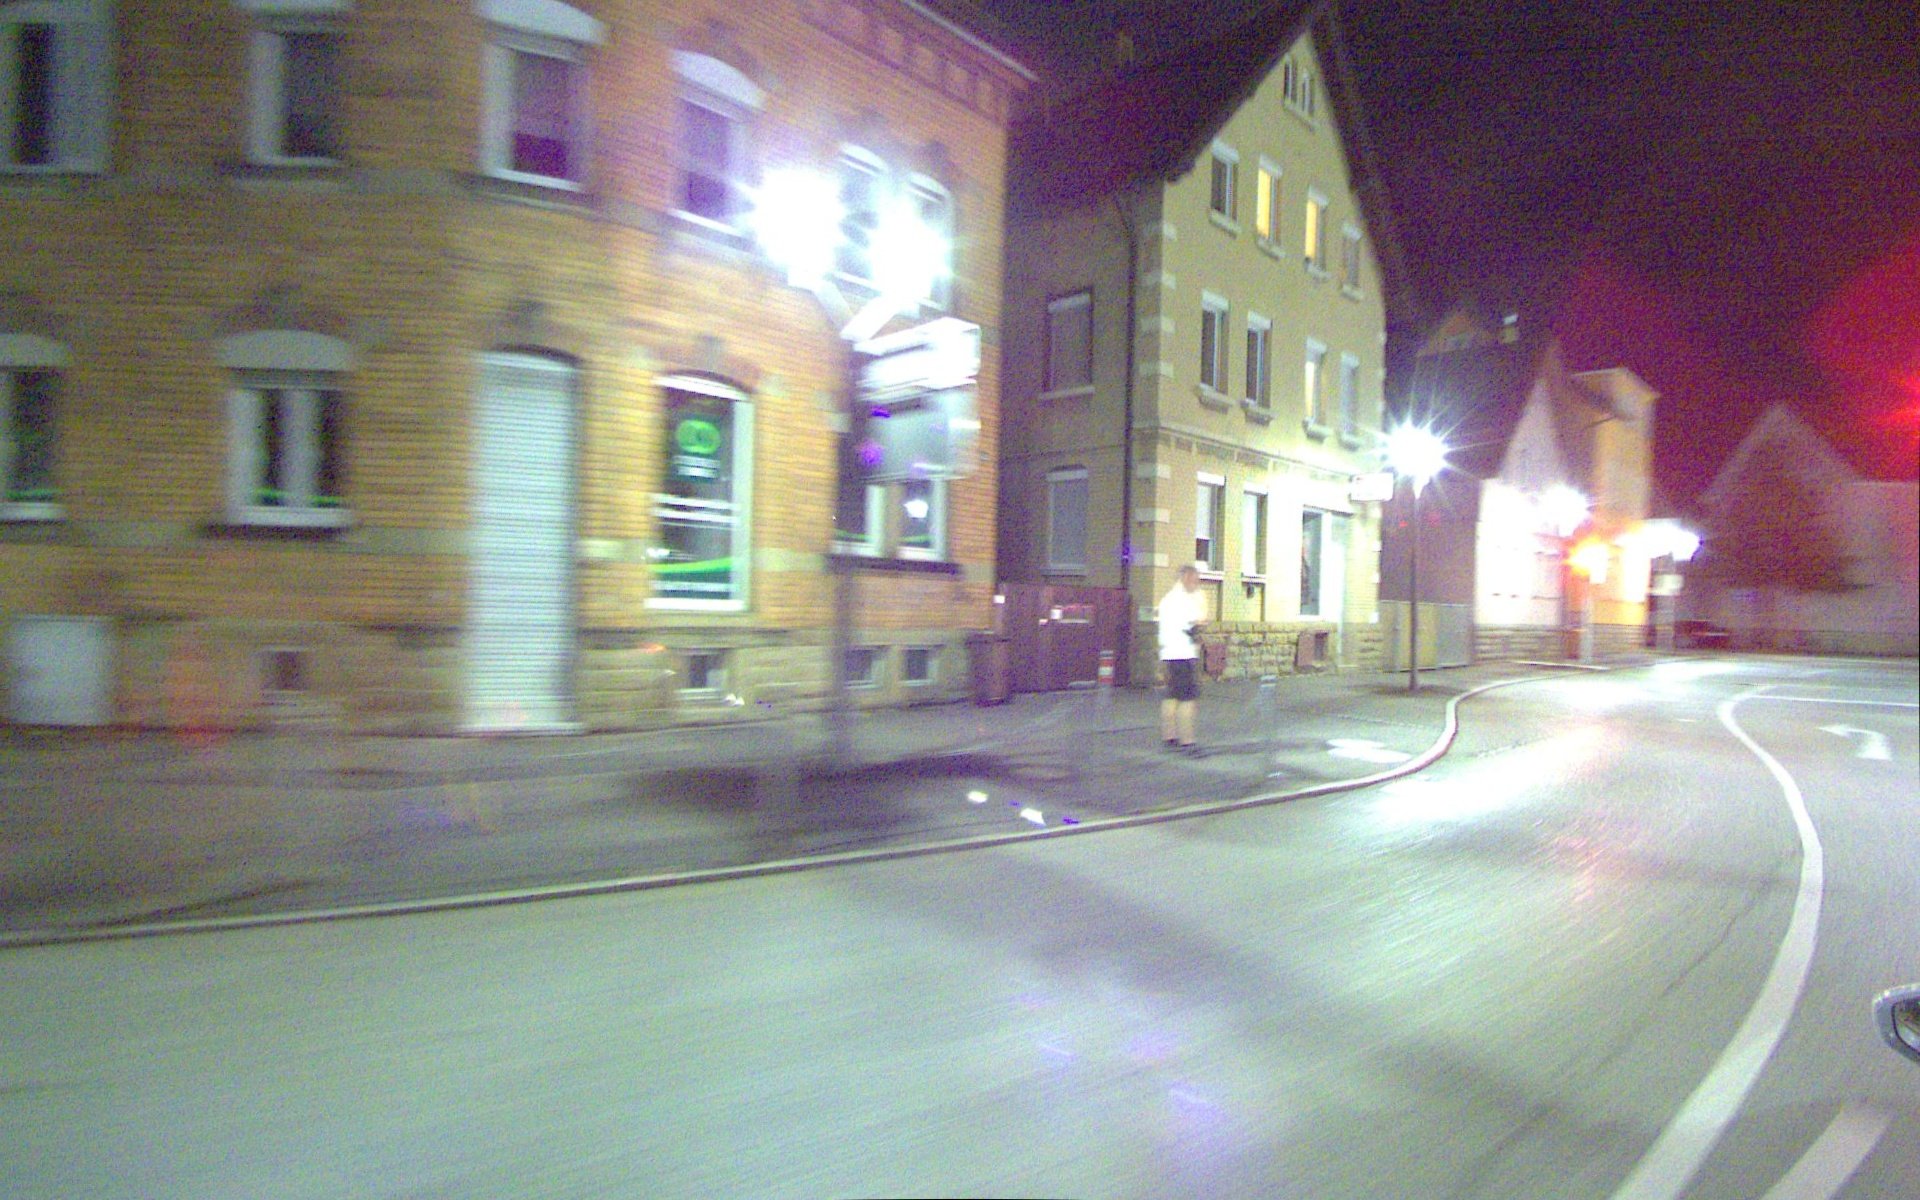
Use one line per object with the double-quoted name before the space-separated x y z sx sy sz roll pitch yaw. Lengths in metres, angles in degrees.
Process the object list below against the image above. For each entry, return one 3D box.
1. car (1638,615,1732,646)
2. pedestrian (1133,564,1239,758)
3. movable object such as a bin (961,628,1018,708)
"car" 39.523 1.664 54.893 1.961 1.594 4.329 2 -2 -1
"pedestrian" 2.271 0.580 10.109 0.688 1.846 0.716 1 2 -44
"movable object such as a bin" 0.393 0.879 13.255 0.491 1.004 0.556 1 0 44
